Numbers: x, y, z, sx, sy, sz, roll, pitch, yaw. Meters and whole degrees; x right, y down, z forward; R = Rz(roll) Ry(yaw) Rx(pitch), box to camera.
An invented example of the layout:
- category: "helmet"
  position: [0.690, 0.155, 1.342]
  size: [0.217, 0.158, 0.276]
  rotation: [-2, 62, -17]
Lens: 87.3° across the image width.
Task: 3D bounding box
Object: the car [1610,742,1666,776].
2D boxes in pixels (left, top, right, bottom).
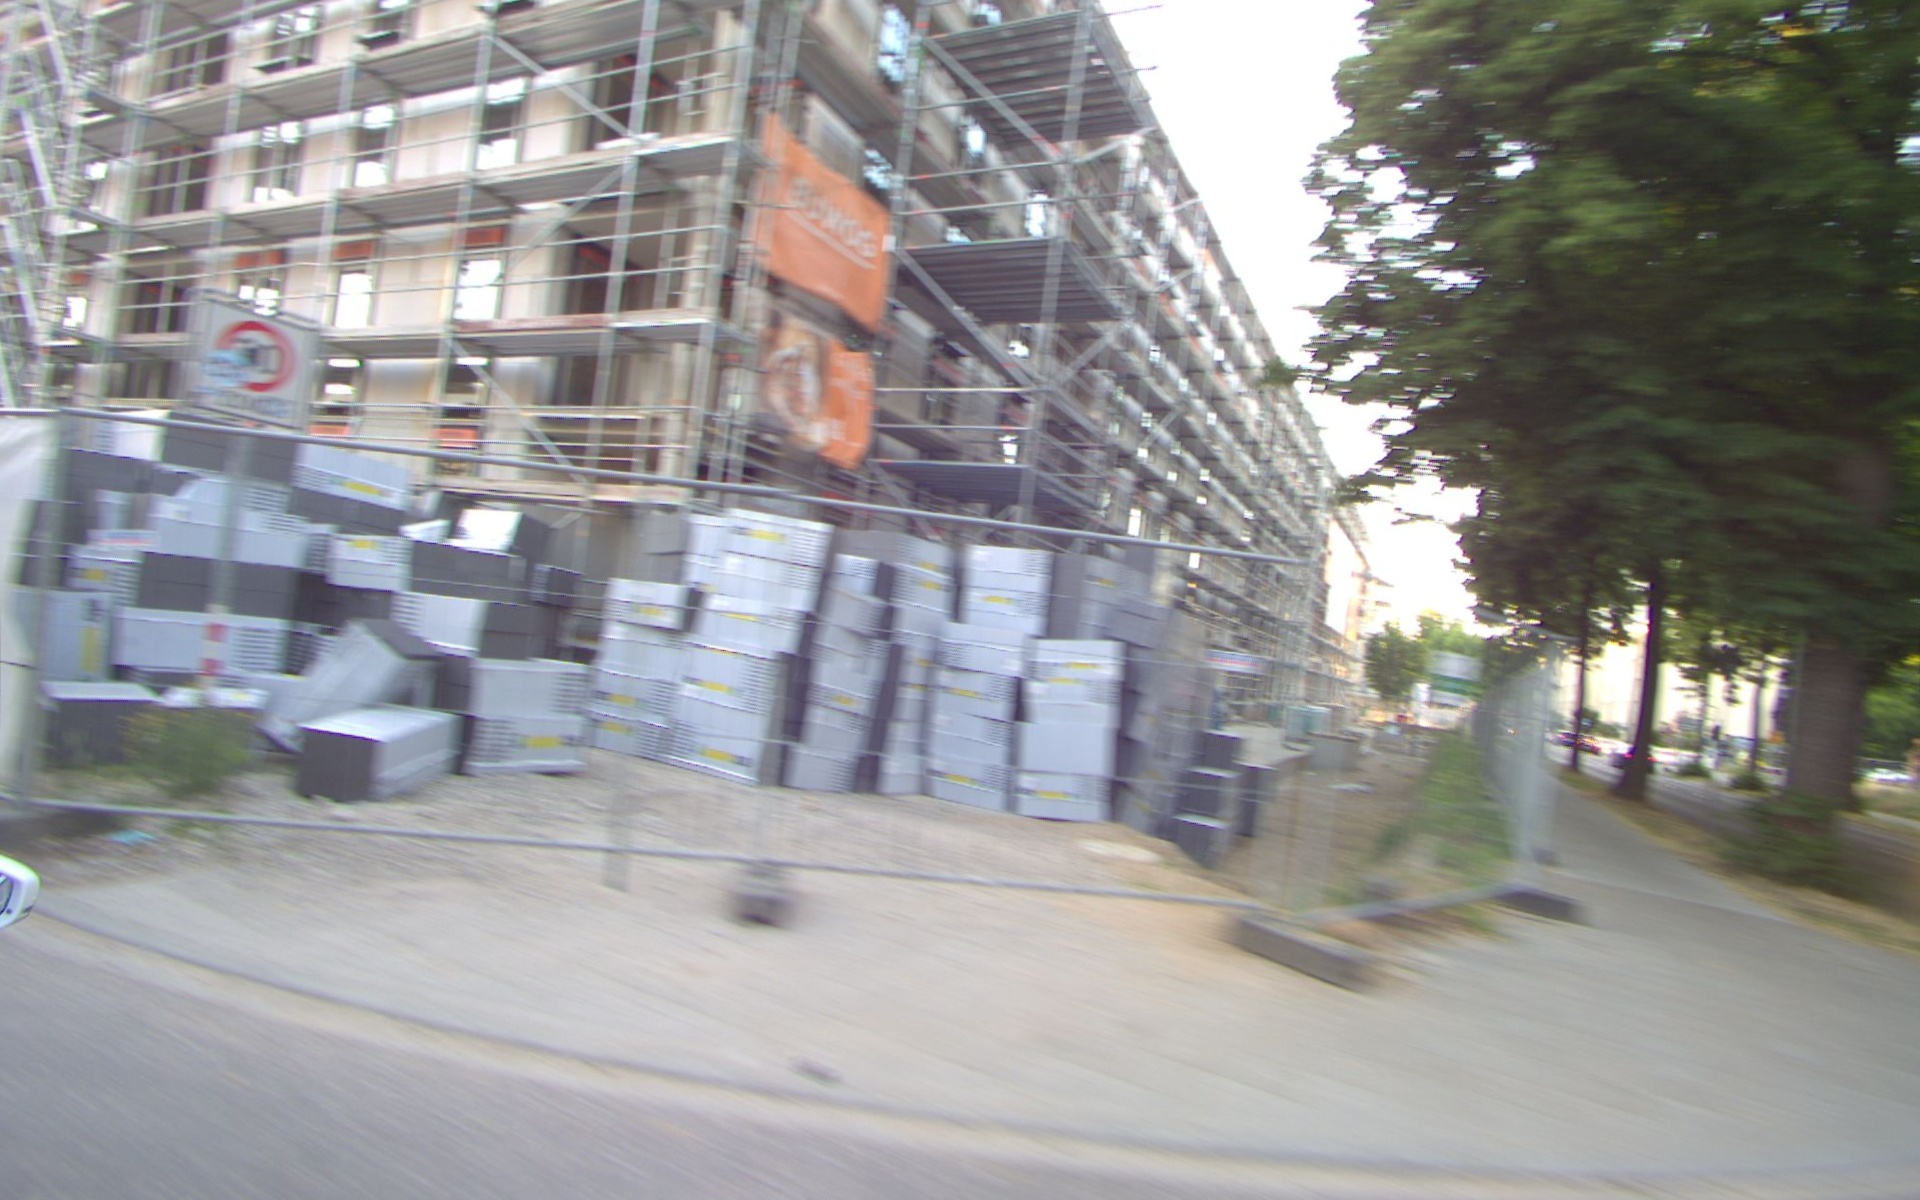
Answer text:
- category: "car"
  position: [38.270, 8.961, 56.853]
  size: [1.919, 1.342, 3.999]
  rotation: [8, -1, 27]

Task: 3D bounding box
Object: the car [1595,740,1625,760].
- category: "car"
  position: [61.984, 14.305, 95.996]
  size: [1.919, 1.342, 3.998]
  rotation: [8, -1, 29]
